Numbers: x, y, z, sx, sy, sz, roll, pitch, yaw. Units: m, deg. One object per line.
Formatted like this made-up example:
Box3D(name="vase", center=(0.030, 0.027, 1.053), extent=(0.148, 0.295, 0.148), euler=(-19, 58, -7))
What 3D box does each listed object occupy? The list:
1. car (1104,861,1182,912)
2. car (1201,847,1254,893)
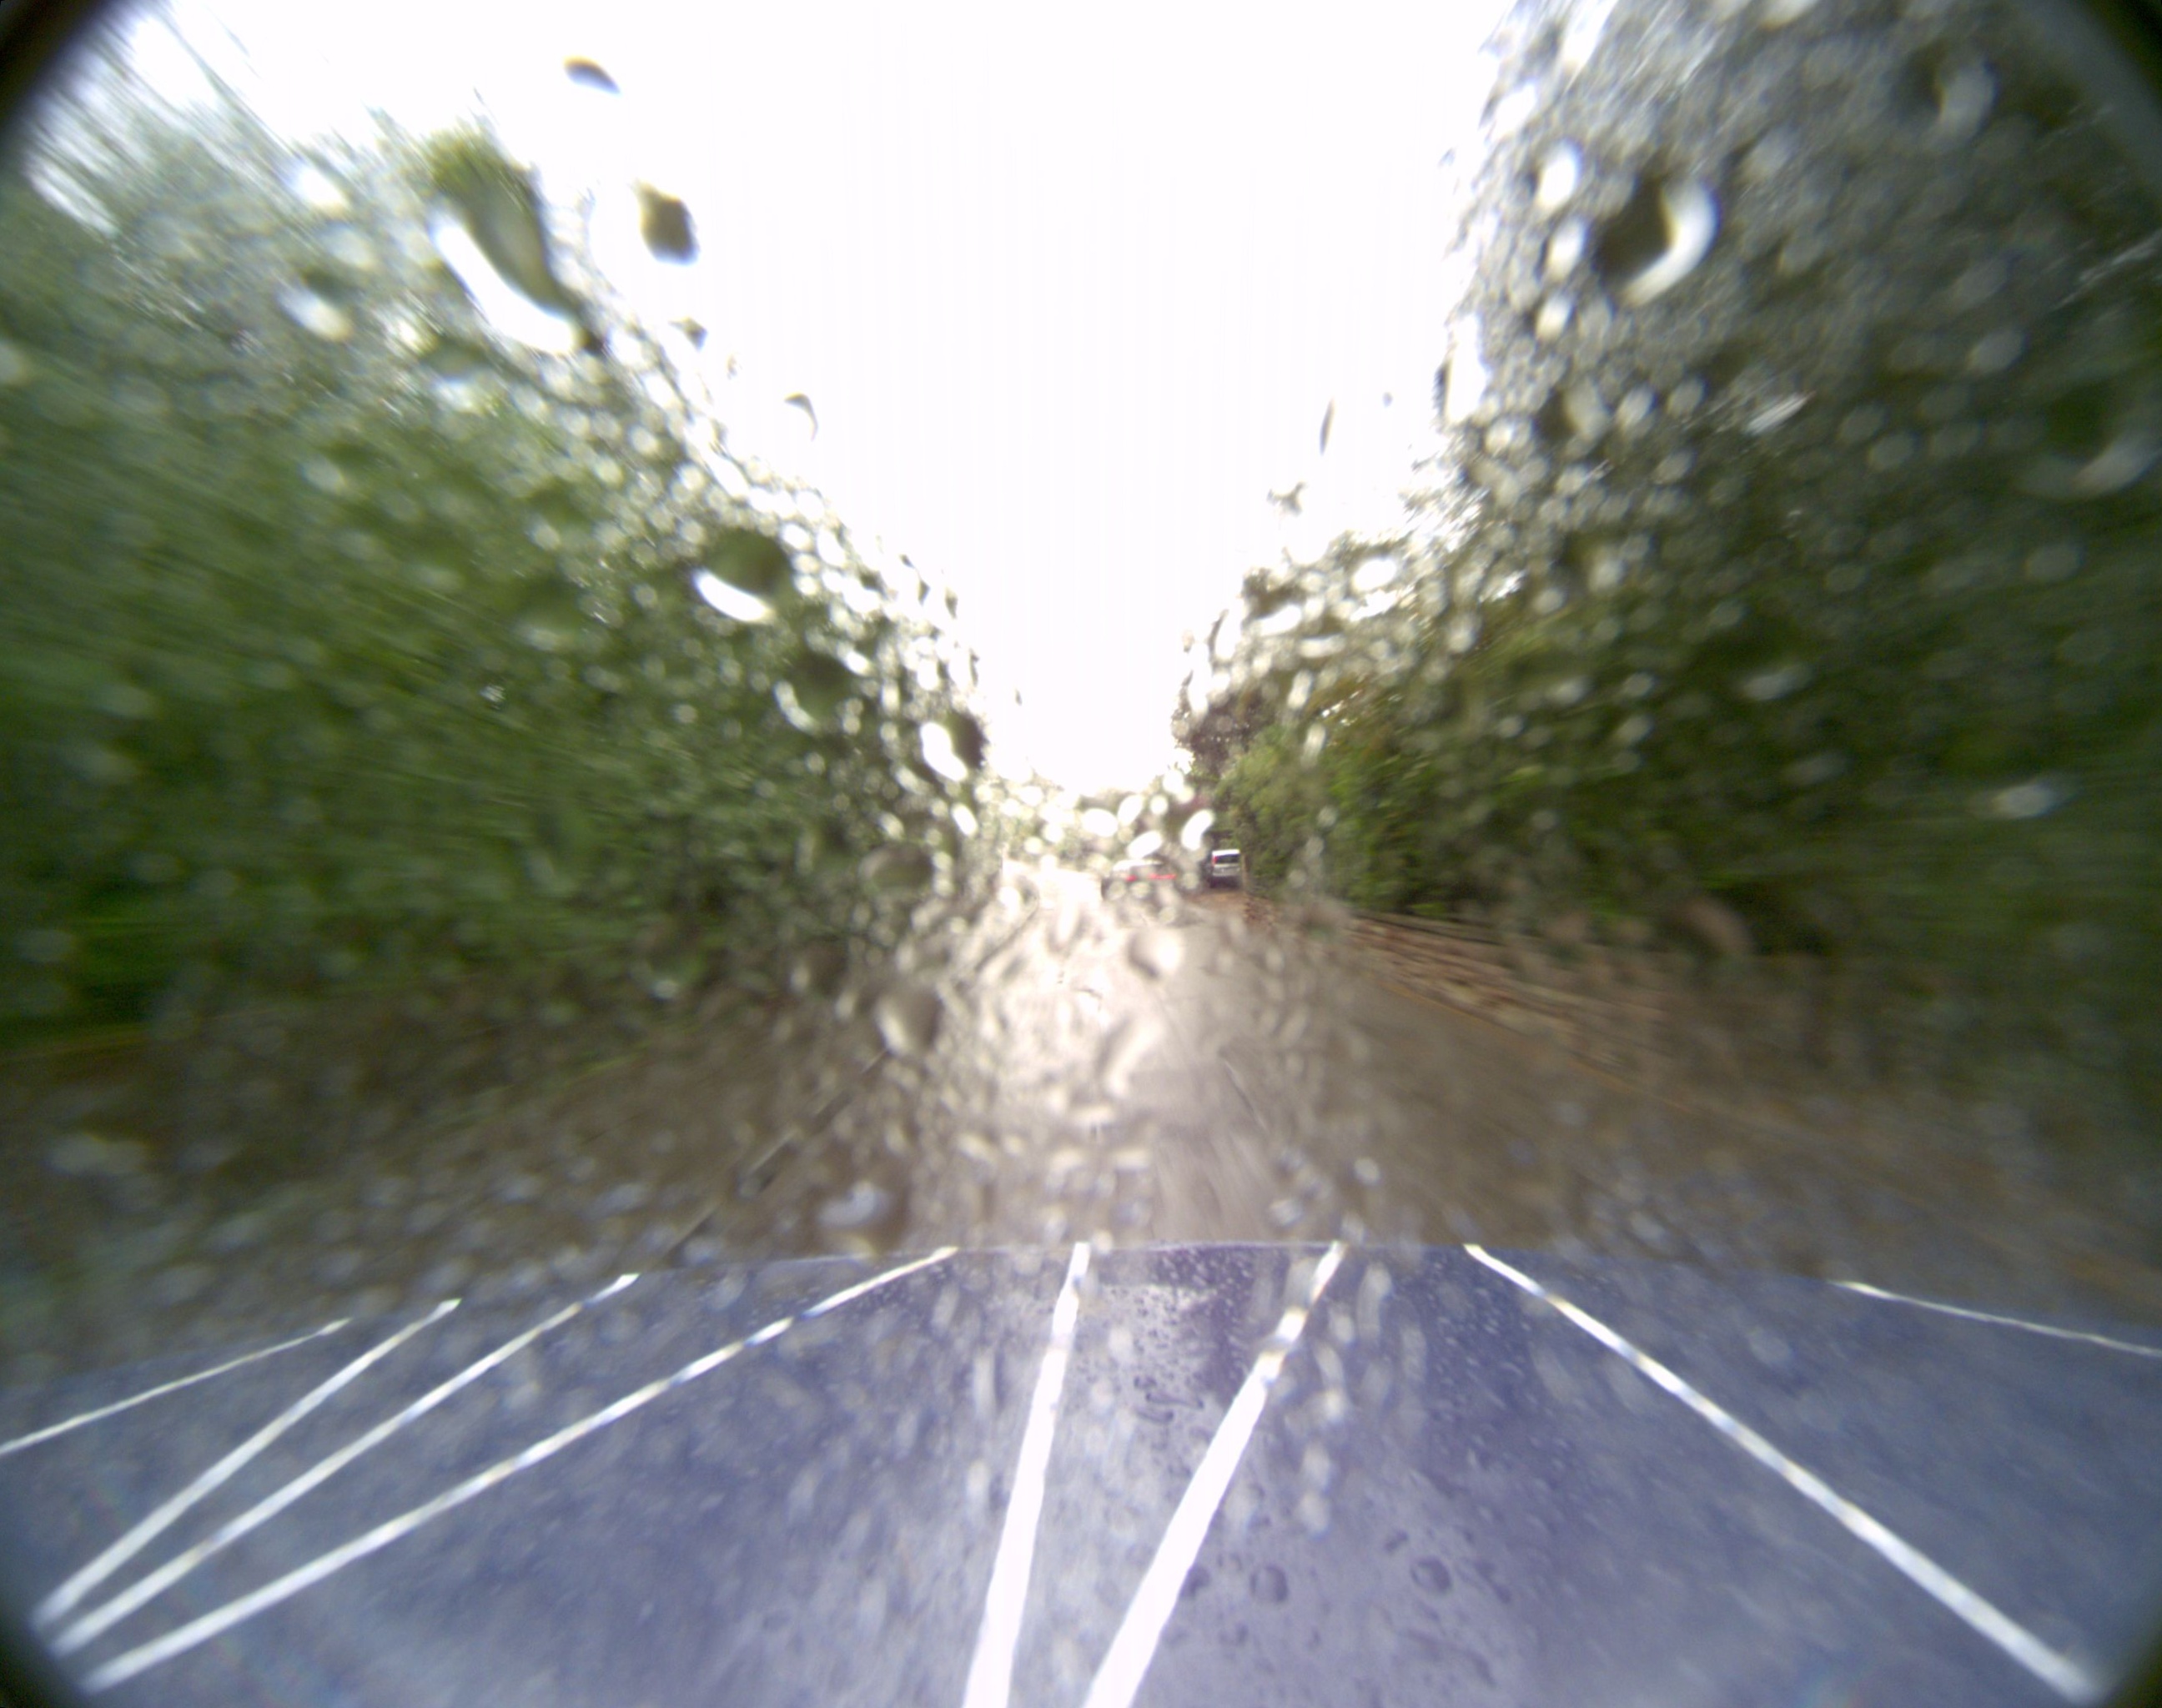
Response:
Box3D(name="car", center=(2.098, 1.071, 27.069), extent=(1.894, 1.514, 4.418), euler=(-2, 1, -6))
Box3D(name="car", center=(6.071, 0.613, 31.812), extent=(1.788, 1.518, 3.656), euler=(-5, 3, 6))
